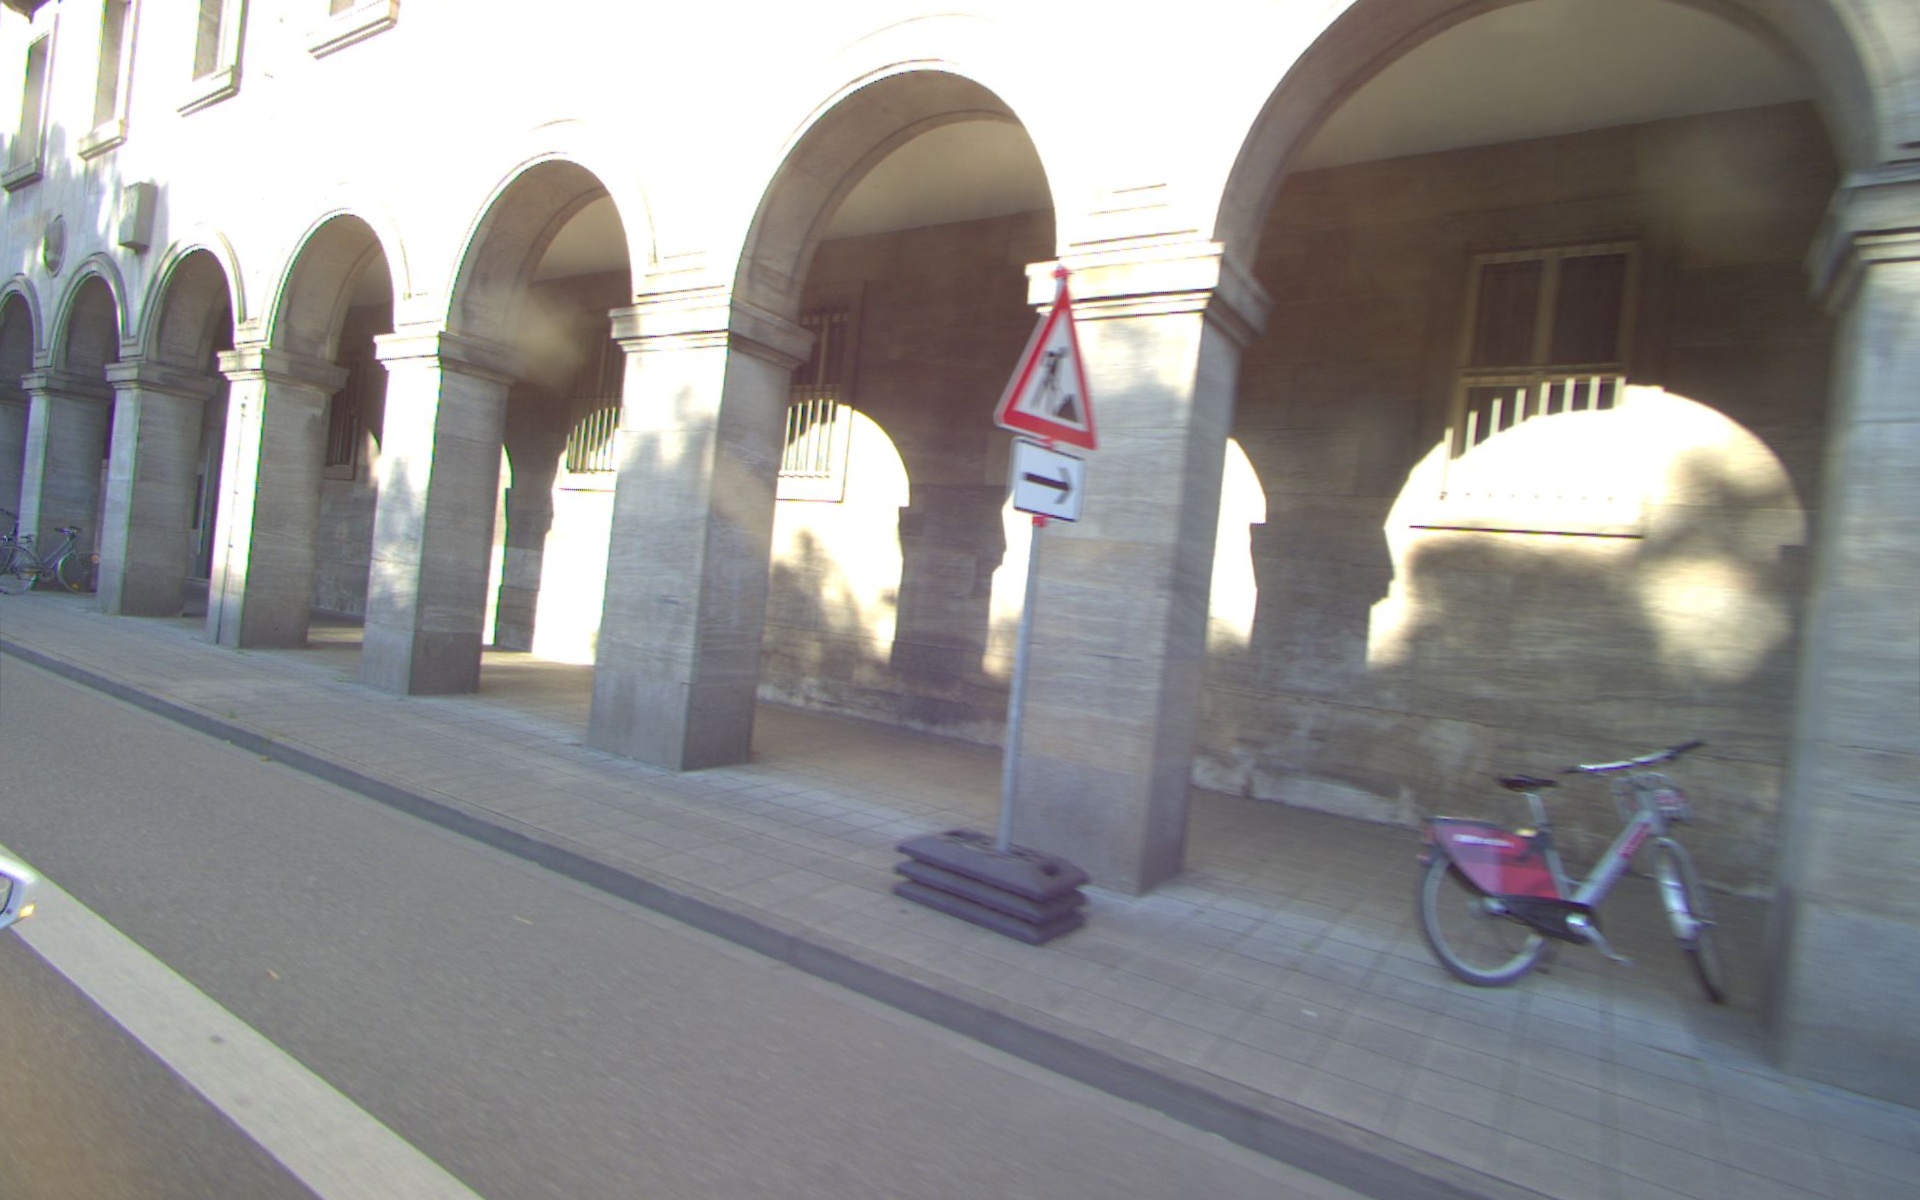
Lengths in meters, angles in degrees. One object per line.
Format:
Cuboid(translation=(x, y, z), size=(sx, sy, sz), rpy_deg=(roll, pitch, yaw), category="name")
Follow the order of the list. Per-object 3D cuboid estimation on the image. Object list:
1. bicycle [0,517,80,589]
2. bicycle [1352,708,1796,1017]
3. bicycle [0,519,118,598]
Cuboid(translation=(-15.042, -0.759, 16.136), size=(0.602, 1.064, 1.708), rpy_deg=(5, 1, -13), category="bicycle")
Cuboid(translation=(2.759, 1.159, 4.553), size=(1.687, 1.148, 0.661), rpy_deg=(5, 2, -17), category="bicycle")
Cuboid(translation=(-13.608, -0.612, 14.870), size=(0.518, 1.064, 1.712), rpy_deg=(6, 1, 19), category="bicycle")
